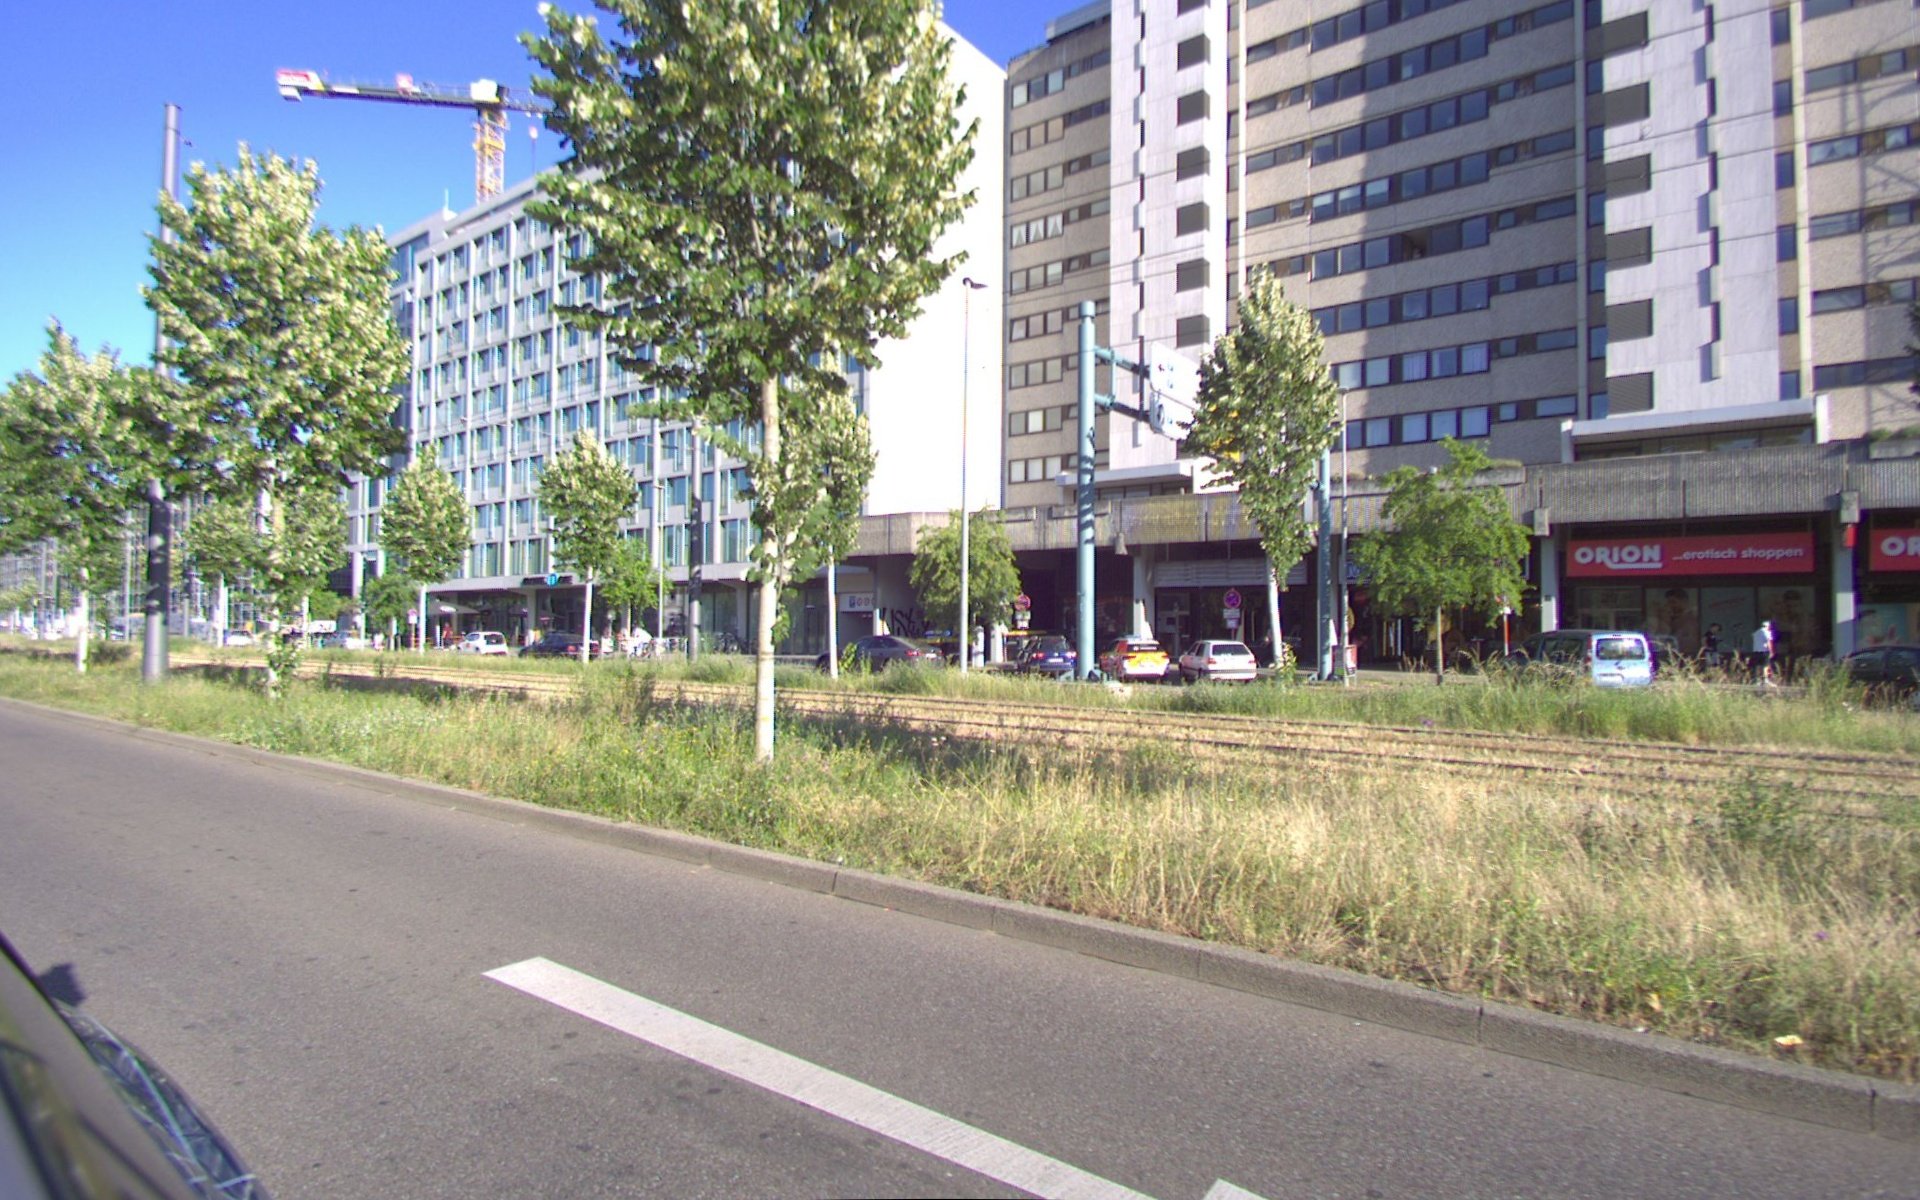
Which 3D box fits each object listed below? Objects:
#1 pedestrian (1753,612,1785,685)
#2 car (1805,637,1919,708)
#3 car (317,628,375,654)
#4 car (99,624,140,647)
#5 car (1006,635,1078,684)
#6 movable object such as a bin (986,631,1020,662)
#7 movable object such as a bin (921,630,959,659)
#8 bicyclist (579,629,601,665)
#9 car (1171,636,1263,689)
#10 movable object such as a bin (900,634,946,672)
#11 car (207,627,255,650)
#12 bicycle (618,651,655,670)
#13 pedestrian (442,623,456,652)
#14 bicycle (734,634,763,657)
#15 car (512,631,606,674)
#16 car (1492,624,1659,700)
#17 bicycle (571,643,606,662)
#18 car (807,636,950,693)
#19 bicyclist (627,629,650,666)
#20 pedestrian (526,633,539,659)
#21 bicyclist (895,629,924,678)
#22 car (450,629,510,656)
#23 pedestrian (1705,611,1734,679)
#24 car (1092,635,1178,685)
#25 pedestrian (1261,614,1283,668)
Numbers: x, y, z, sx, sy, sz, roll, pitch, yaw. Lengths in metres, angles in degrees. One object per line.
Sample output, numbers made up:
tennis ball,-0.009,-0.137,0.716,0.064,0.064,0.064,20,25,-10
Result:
pedestrian,23.115,1.376,28.916,0.653,2.029,0.542,-1,-2,37
car,21.608,1.630,23.037,1.596,1.413,3.471,-1,0,-7
car,-36.128,2.404,59.522,3.873,1.388,1.594,-1,0,38
car,-71.410,2.993,85.967,3.787,1.765,1.852,-1,0,38
car,2.874,2.083,36.415,1.595,1.455,4.555,-1,0,-8
movable object such as a bin,1.932,2.073,45.342,1.088,1.382,1.108,-1,-3,36
movable object such as a bin,-0.952,2.118,48.201,1.231,1.344,1.373,-1,-3,36
bicyclist,-17.213,2.190,47.077,0.917,1.669,0.533,-1,-3,36
car,8.174,1.946,32.546,1.596,1.455,3.798,-1,0,-6
movable object such as a bin,-1.405,2.015,38.754,1.169,1.382,1.373,-1,-3,36
car,-52.751,2.767,73.221,3.477,1.603,1.852,-1,0,38
bicycle,-14.925,2.781,46.666,2.098,0.869,0.432,-1,-3,36
pedestrian,-35.504,2.617,70.324,0.725,2.029,0.614,-1,-3,38
bicycle,-11.792,2.511,56.320,1.712,1.239,0.391,-1,-2,28
car,-17.824,2.296,44.904,4.481,1.715,1.852,-1,0,38
car,16.000,1.551,26.578,1.597,1.703,4.200,-1,0,-4
bicycle,-17.295,2.429,47.082,2.098,0.869,0.432,-1,-3,36
car,-2.698,2.053,32.974,4.632,1.600,1.852,-1,0,38
bicyclist,-14.791,2.168,46.589,0.917,1.669,0.533,-1,-3,36
pedestrian,-26.491,2.841,62.715,0.596,1.648,0.473,-1,-3,38
bicyclist,-1.833,1.916,36.572,0.917,1.758,0.552,-1,-3,36
car,-28.302,2.476,59.670,3.384,1.477,1.852,-1,0,38
pedestrian,22.897,1.346,30.515,0.653,2.029,0.542,-1,-2,37
car,5.834,1.982,34.195,1.761,1.455,3.808,-1,0,-8
pedestrian,11.787,1.554,38.231,0.653,2.029,0.542,-1,-2,37
